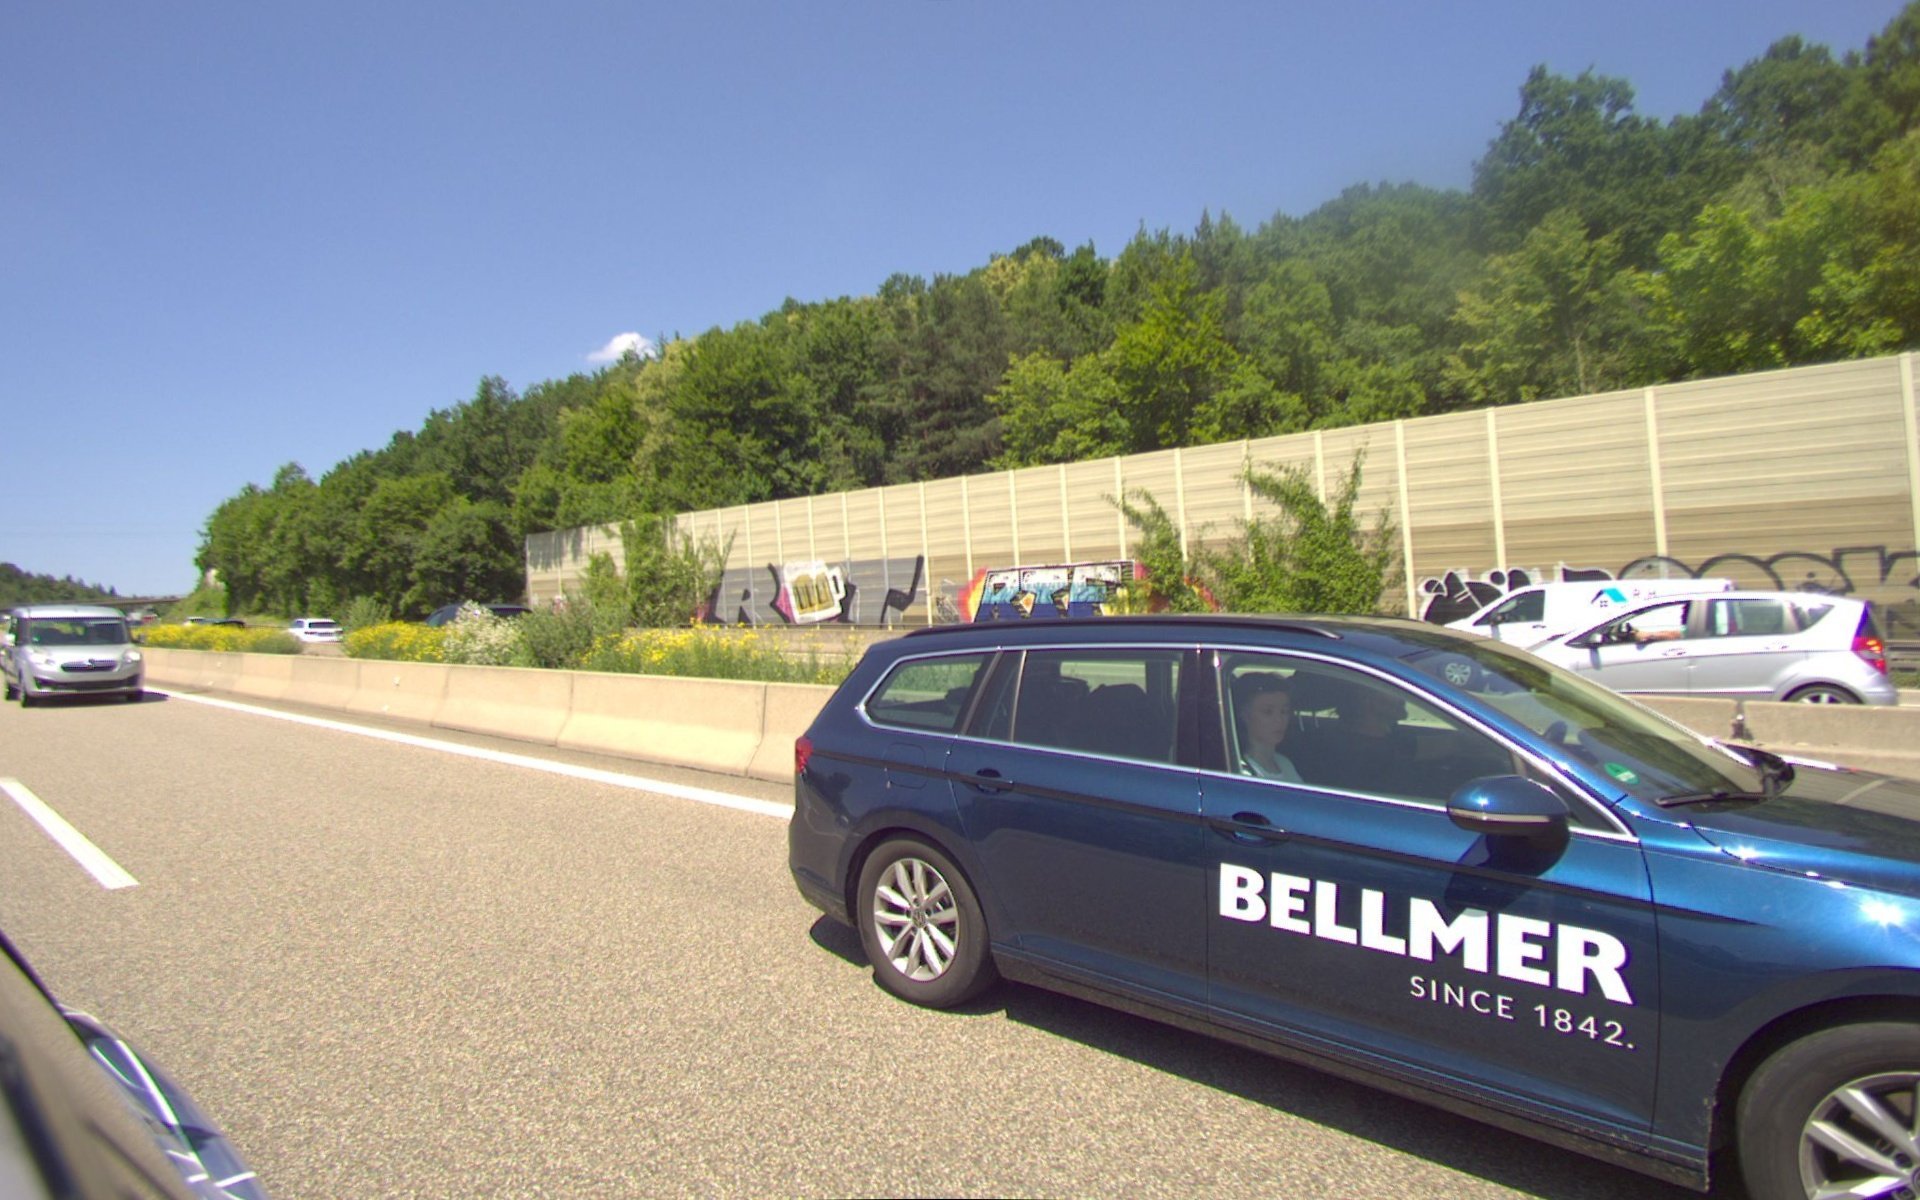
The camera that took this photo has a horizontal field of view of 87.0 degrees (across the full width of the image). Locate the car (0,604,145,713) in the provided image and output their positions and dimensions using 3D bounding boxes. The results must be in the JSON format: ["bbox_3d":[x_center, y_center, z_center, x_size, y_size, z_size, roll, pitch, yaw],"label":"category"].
[{"bbox_3d":[-16.952,1.040,19.256,4.001,1.858,1.756,-2,-2,44],"label":"car"}]

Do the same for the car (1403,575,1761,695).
[{"bbox_3d":[11.090,0.581,18.342,5.301,1.881,1.901,-1,-1,41],"label":"car"}]

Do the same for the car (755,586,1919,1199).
[{"bbox_3d":[1.470,0.714,3.307,4.728,1.438,1.714,-1,-1,42],"label":"car"}]

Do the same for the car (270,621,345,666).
[{"bbox_3d":[-30.039,1.967,46.541,4.502,1.936,1.719,-1,-1,41],"label":"car"}]

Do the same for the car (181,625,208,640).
[{"bbox_3d":[-80.513,3.396,106.420,4.313,1.493,1.612,-2,-1,44],"label":"car"}]

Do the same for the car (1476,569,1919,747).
[{"bbox_3d":[8.321,0.578,11.458,4.103,1.682,1.808,-1,-1,42],"label":"car"}]

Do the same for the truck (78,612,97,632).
[{"bbox_3d":[-155.088,3.880,179.869,6.027,3.532,1.971,-2,-1,44],"label":"truck"}]

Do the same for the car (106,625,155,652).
[{"bbox_3d":[-51.187,2.351,62.404,4.713,1.589,1.728,-2,-1,43],"label":"car"}]

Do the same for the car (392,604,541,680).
[{"bbox_3d":[-12.263,1.000,25.006,4.657,1.711,1.666,-2,-1,42],"label":"car"}]

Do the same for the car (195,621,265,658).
[{"bbox_3d":[-30.781,1.644,42.643,3.752,1.478,1.599,-2,-1,42],"label":"car"}]

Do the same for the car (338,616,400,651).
[{"bbox_3d":[-33.553,1.863,57.453,4.502,1.936,1.719,-1,-1,41],"label":"car"}]

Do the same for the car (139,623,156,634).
[{"bbox_3d":[-131.412,4.618,163.699,4.001,1.647,1.708,-2,-1,44],"label":"car"}]
